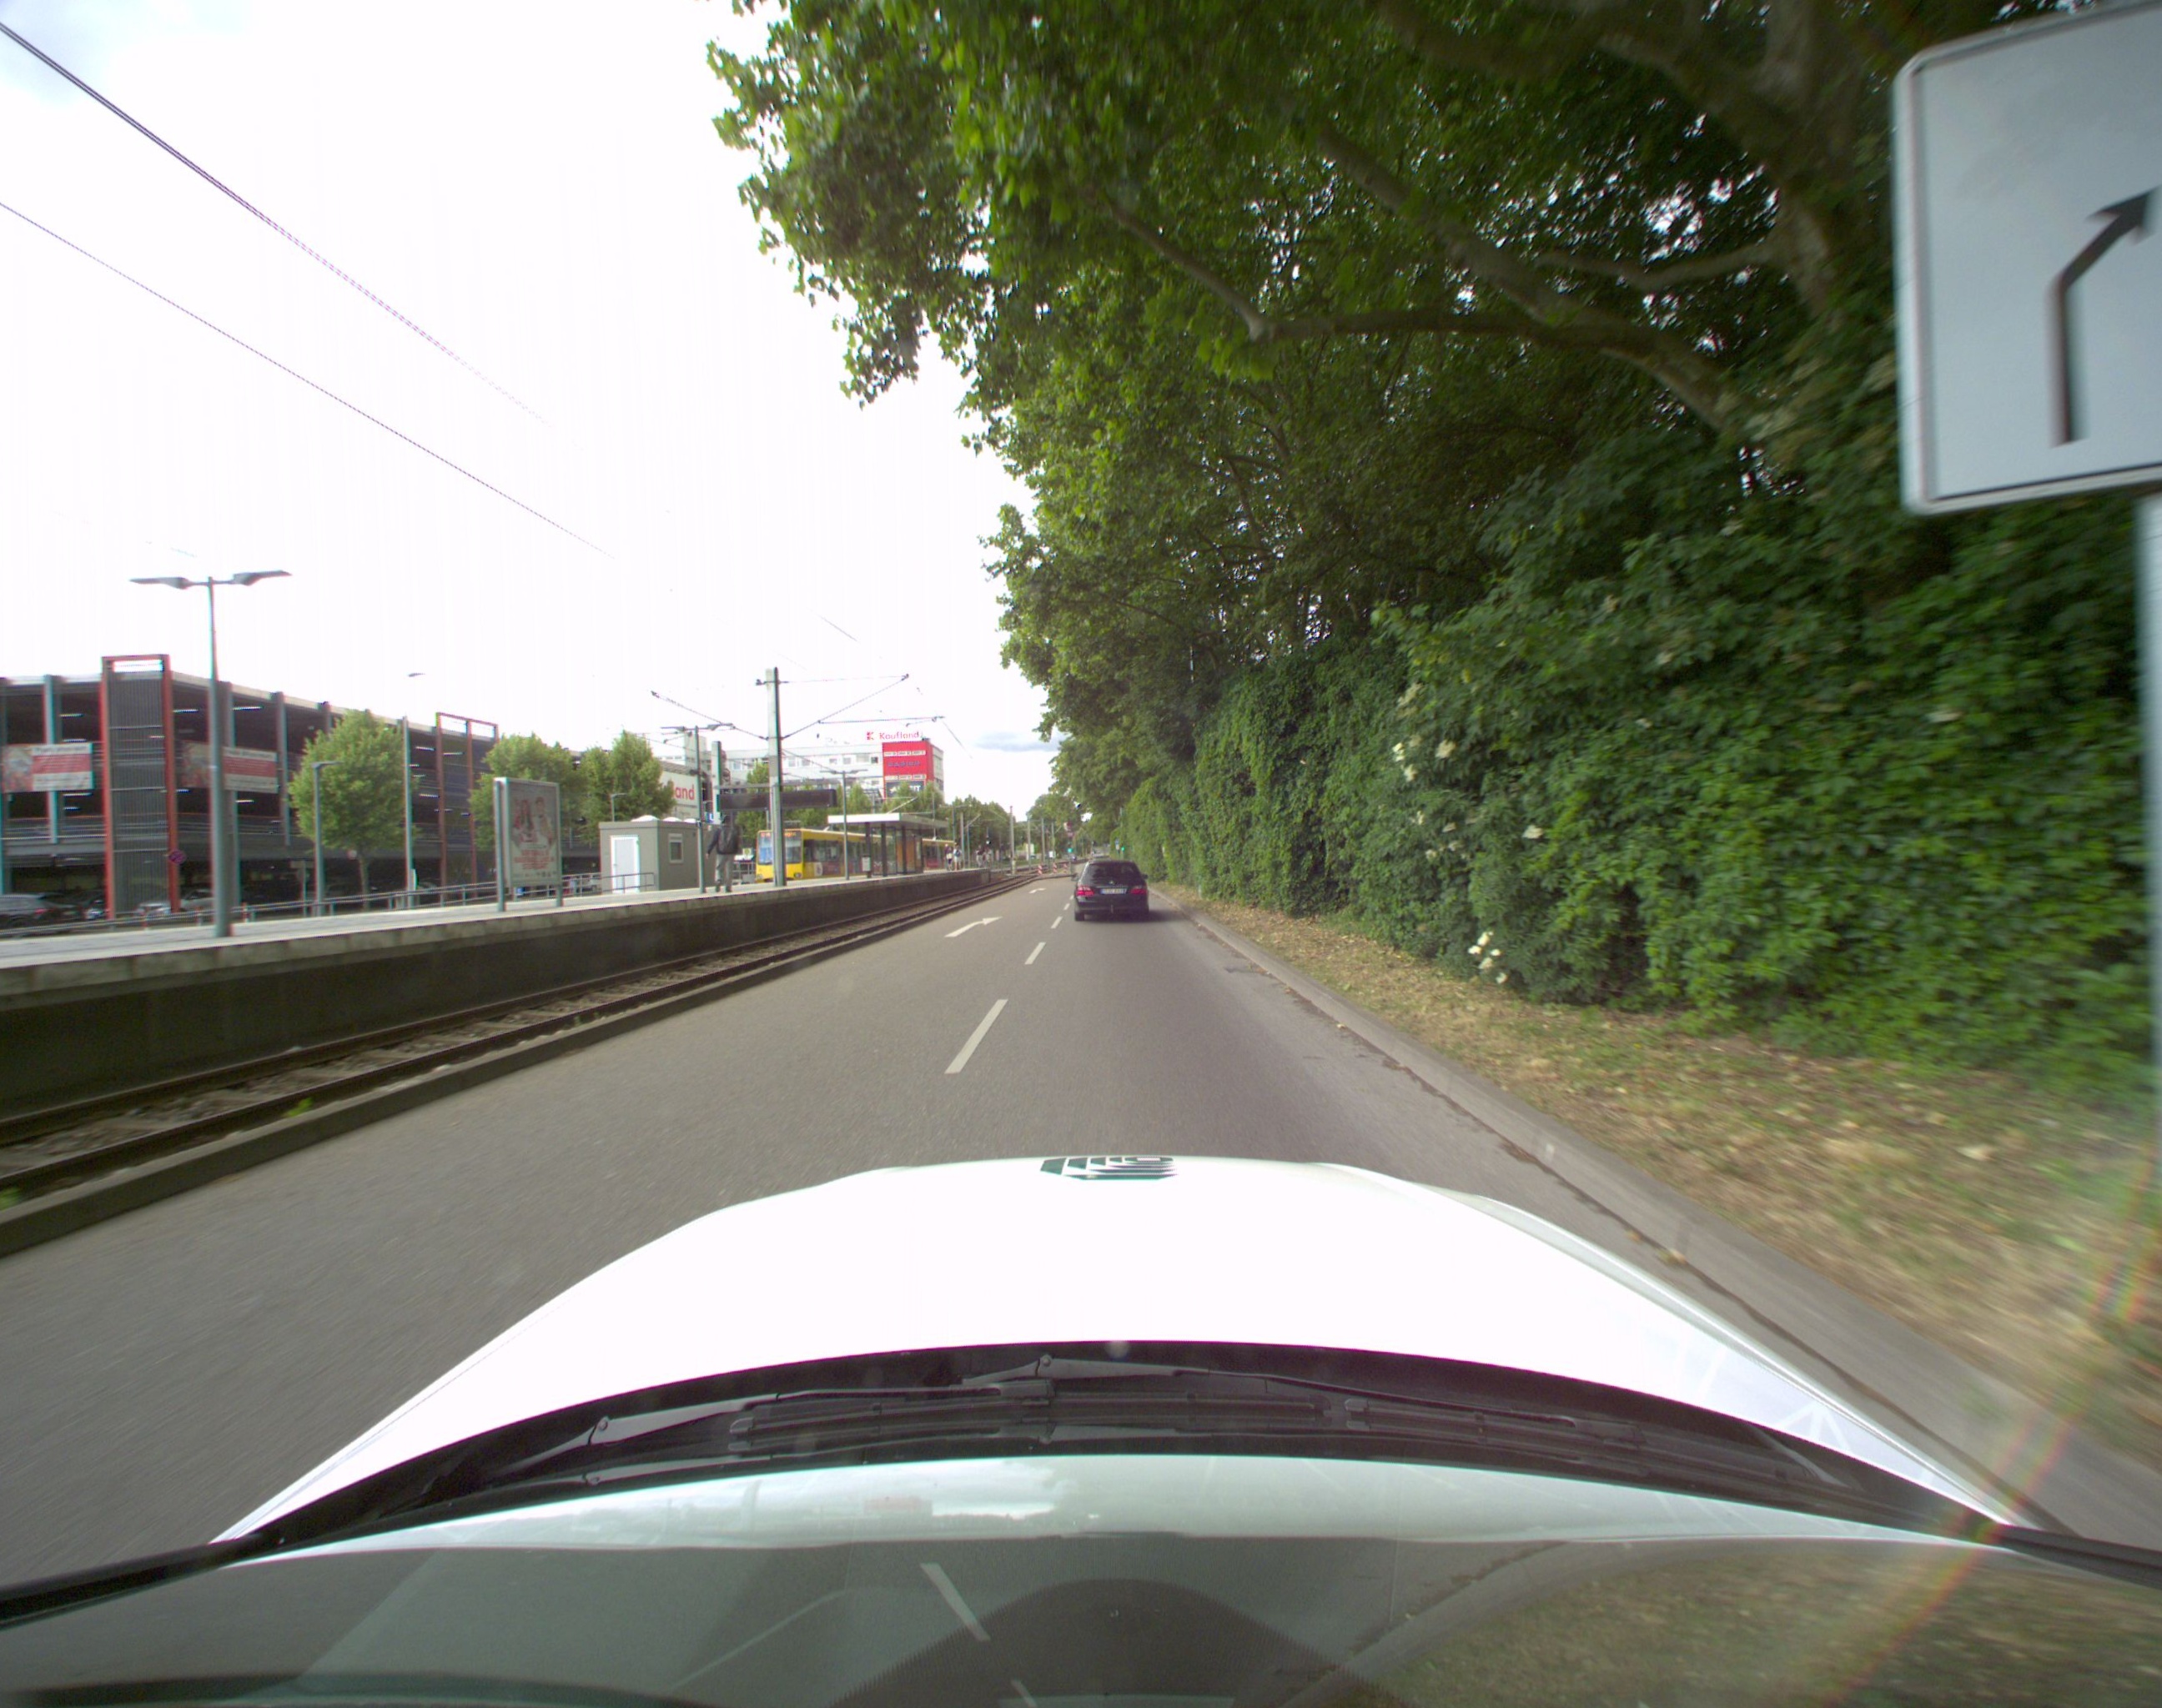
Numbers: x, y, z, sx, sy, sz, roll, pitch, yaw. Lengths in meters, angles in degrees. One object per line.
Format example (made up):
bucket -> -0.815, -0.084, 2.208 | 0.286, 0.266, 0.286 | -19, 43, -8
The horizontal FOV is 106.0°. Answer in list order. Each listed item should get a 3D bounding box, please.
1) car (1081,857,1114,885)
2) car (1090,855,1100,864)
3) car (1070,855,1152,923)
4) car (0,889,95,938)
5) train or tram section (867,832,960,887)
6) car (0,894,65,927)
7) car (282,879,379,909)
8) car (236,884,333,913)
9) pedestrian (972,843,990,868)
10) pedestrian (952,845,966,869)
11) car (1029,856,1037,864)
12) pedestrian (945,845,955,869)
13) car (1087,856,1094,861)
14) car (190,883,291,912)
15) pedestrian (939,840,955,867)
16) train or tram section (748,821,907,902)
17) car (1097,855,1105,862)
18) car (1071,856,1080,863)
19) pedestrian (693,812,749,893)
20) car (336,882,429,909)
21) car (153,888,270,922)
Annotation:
car -> 0.955, 0.942, 47.861 | 1.819, 1.530, 4.416 | -1, 0, 1
car -> 2.738, 1.078, 160.818 | 1.818, 1.530, 4.419 | -2, 0, 3
car -> 0.769, 0.804, 20.770 | 1.826, 1.478, 4.418 | -1, 0, 2
car -> -41.067, 2.315, 31.194 | 3.816, 1.706, 1.633 | -2, 0, -23
train or tram section -> -13.572, 0.323, 68.514 | 2.745, 3.828, 18.647 | -3, 0, 3
car -> -50.834, 2.696, 38.227 | 1.709, 1.415, 3.562 | -2, 0, 2
car -> -45.442, 2.397, 49.417 | 1.986, 1.473, 4.002 | -4, 0, 2
car -> -47.949, 2.647, 49.174 | 1.816, 1.457, 4.001 | -2, 0, 1
pedestrian -> -7.009, 0.113, 57.066 | 0.736, 1.678, 0.881 | -4, -1, 45
pedestrian -> -7.587, 0.207, 50.642 | 0.514, 1.482, 0.585 | -3, -1, 39
car -> -14.007, 1.735, 239.611 | 1.986, 2.013, 4.001 | -4, 0, 1
pedestrian -> -8.292, 0.216, 51.580 | 0.477, 1.483, 0.539 | -3, -1, -20
car -> 2.562, 1.228, 228.354 | 1.818, 1.530, 3.989 | -1, 0, 3
car -> -50.699, 2.606, 49.240 | 1.816, 1.457, 4.001 | -2, 0, 1
pedestrian -> -8.776, -0.019, 53.290 | 0.768, 1.678, 0.791 | -4, -1, 1
train or tram section -> -14.640, 0.366, 49.912 | 2.745, 3.882, 18.647 | -3, 0, 3
car -> 4.546, 1.090, 183.631 | 1.818, 1.530, 3.930 | -1, 0, 3
car -> -1.284, 1.142, 184.116 | 1.818, 1.530, 3.930 | -1, 0, 3
pedestrian -> -8.119, -0.029, 18.409 | 0.746, 1.744, 0.937 | -4, -1, 1
car -> -42.363, 2.488, 49.512 | 1.986, 1.310, 4.002 | -4, 0, 2
car -> -40.844, 2.352, 38.376 | 1.528, 1.310, 3.544 | -4, 0, 2
